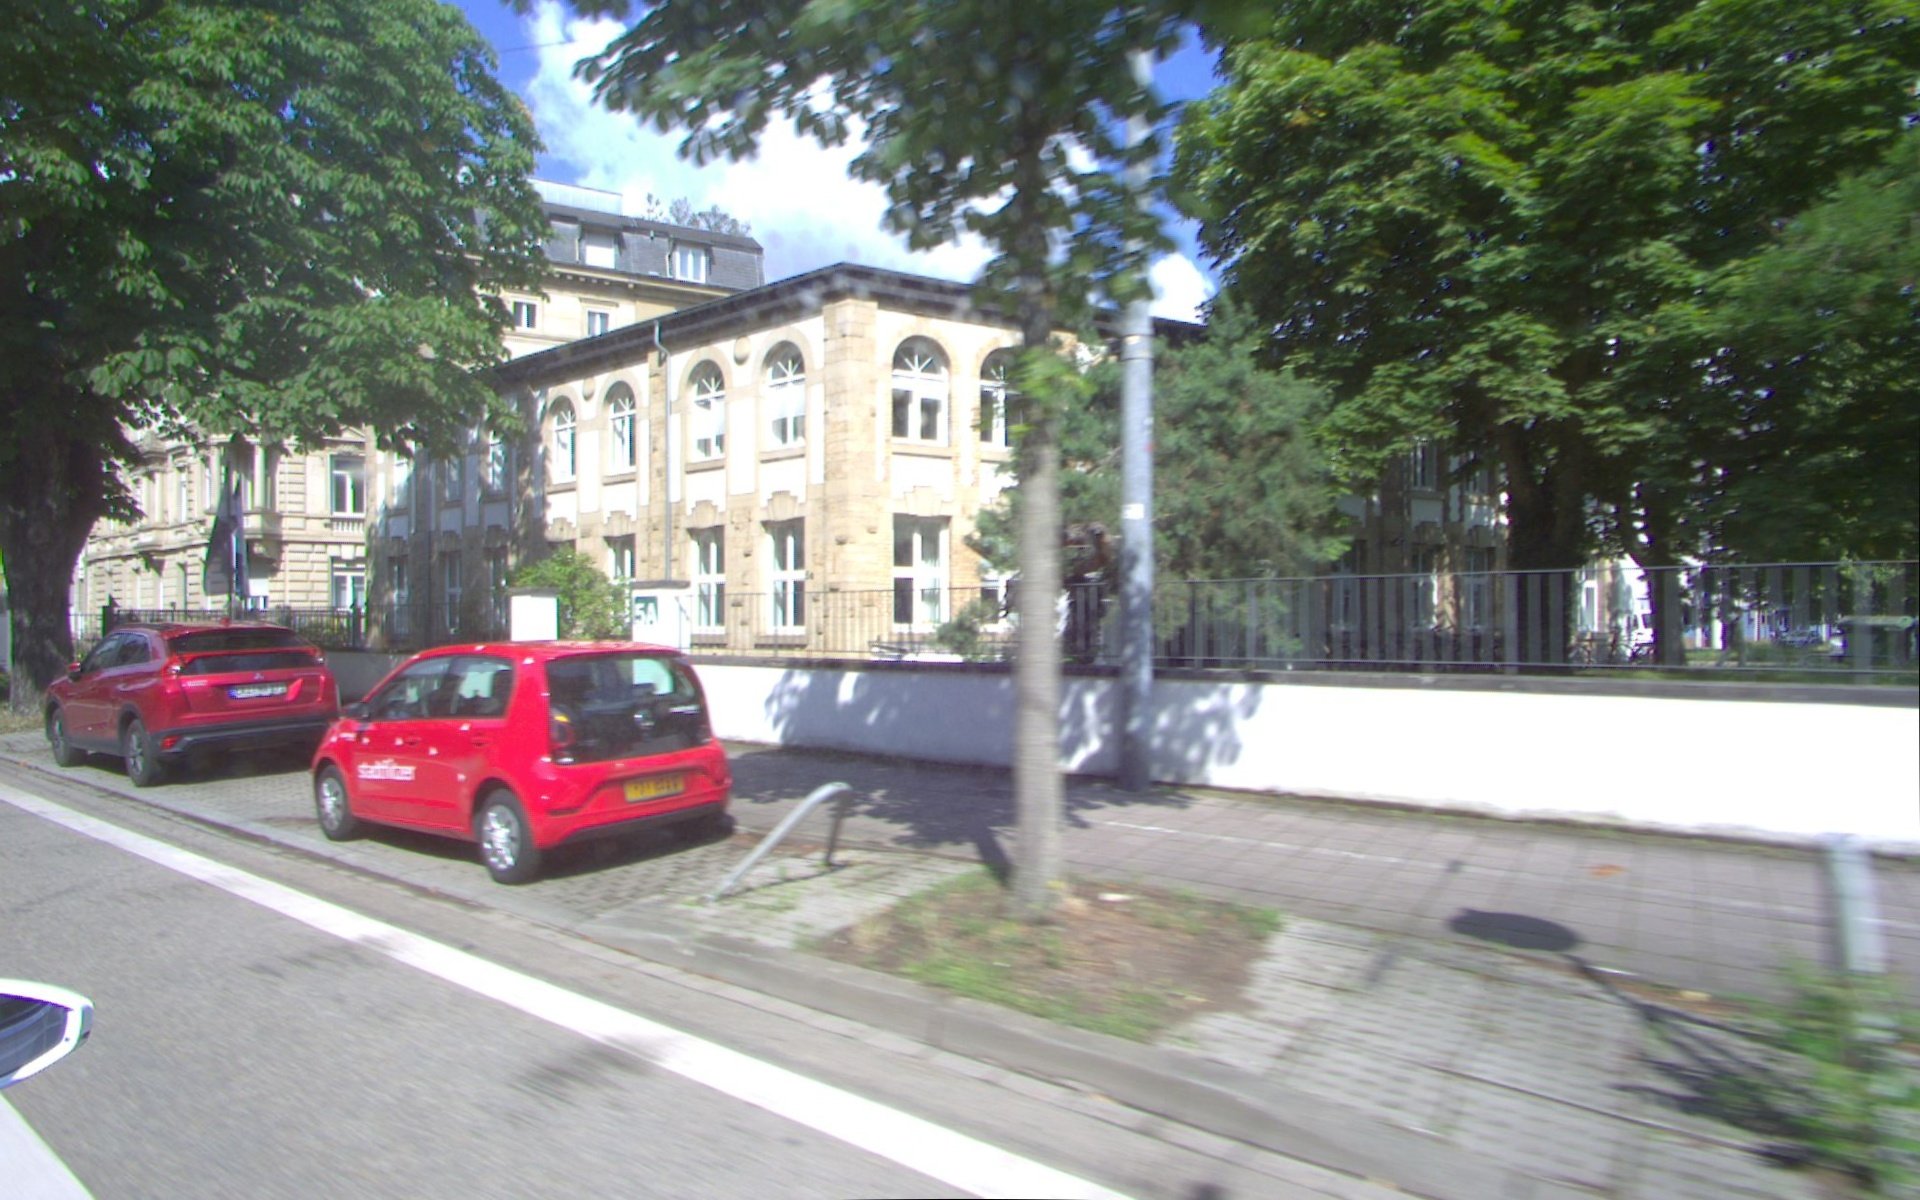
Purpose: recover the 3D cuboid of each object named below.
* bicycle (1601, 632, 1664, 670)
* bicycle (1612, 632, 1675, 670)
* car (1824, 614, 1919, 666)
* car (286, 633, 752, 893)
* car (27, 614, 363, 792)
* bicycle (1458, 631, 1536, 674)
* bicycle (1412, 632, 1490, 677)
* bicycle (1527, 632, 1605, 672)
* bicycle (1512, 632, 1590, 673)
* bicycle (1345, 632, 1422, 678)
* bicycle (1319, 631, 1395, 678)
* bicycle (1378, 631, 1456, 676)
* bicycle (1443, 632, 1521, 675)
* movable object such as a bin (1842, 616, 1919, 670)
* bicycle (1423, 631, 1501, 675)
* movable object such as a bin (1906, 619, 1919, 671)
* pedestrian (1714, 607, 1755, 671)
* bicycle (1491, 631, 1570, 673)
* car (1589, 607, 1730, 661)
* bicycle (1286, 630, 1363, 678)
[{"bbox_3d":[18.829,1.417,28.068,0.421,1.000,1.452,2,-1,-26],"label":"bicycle"},{"bbox_3d":[19.353,1.433,28.370,0.421,1.000,1.452,2,-1,-27],"label":"bicycle"},{"bbox_3d":[29.222,1.223,31.210,5.016,1.516,1.802,1,-1,-28],"label":"car"},{"bbox_3d":[-3.389,1.006,7.499,3.549,1.447,1.595,-1,0,36],"label":"car"},{"bbox_3d":[-8.994,1.040,11.677,4.224,1.698,1.871,-1,0,34],"label":"car"},{"bbox_3d":[13.642,1.326,25.482,0.421,1.000,1.812,2,-1,-27],"label":"bicycle"},{"bbox_3d":[11.950,1.312,24.415,0.421,1.000,1.812,2,-1,-27],"label":"bicycle"},{"bbox_3d":[16.203,1.383,26.813,0.421,1.000,1.812,2,-1,-27],"label":"bicycle"},{"bbox_3d":[15.586,1.366,26.457,0.421,1.000,1.812,2,-1,-27],"label":"bicycle"},{"bbox_3d":[9.933,1.280,23.543,0.421,1.000,1.812,2,-1,-27],"label":"bicycle"},{"bbox_3d":[9.190,1.255,23.253,0.421,1.000,1.812,2,-1,-27],"label":"bicycle"},{"bbox_3d":[10.941,1.272,24.020,0.421,1.000,1.812,2,-1,-27],"label":"bicycle"},{"bbox_3d":[13.037,1.323,25.071,0.421,1.000,1.812,2,-1,-27],"label":"bicycle"},{"bbox_3d":[22.981,1.049,24.990,0.989,1.310,1.185,0,0,-29],"label":"movable object such as a bin"},{"bbox_3d":[12.381,1.301,24.737,0.421,1.000,1.812,2,-1,-27],"label":"bicycle"},{"bbox_3d":[23.443,1.075,23.716,1.013,1.236,1.267,0,0,-29],"label":"movable object such as a bin"},{"bbox_3d":[20.260,1.015,26.196,0.846,1.644,0.567,0,-1,-30],"label":"pedestrian"},{"bbox_3d":[14.756,1.339,25.948,0.421,1.000,1.812,2,-1,-27],"label":"bicycle"},{"bbox_3d":[27.385,1.301,39.207,5.008,1.889,2.031,1,3,-22],"label":"car"},{"bbox_3d":[8.187,1.211,22.581,0.421,1.000,1.812,2,-1,-27],"label":"bicycle"}]
